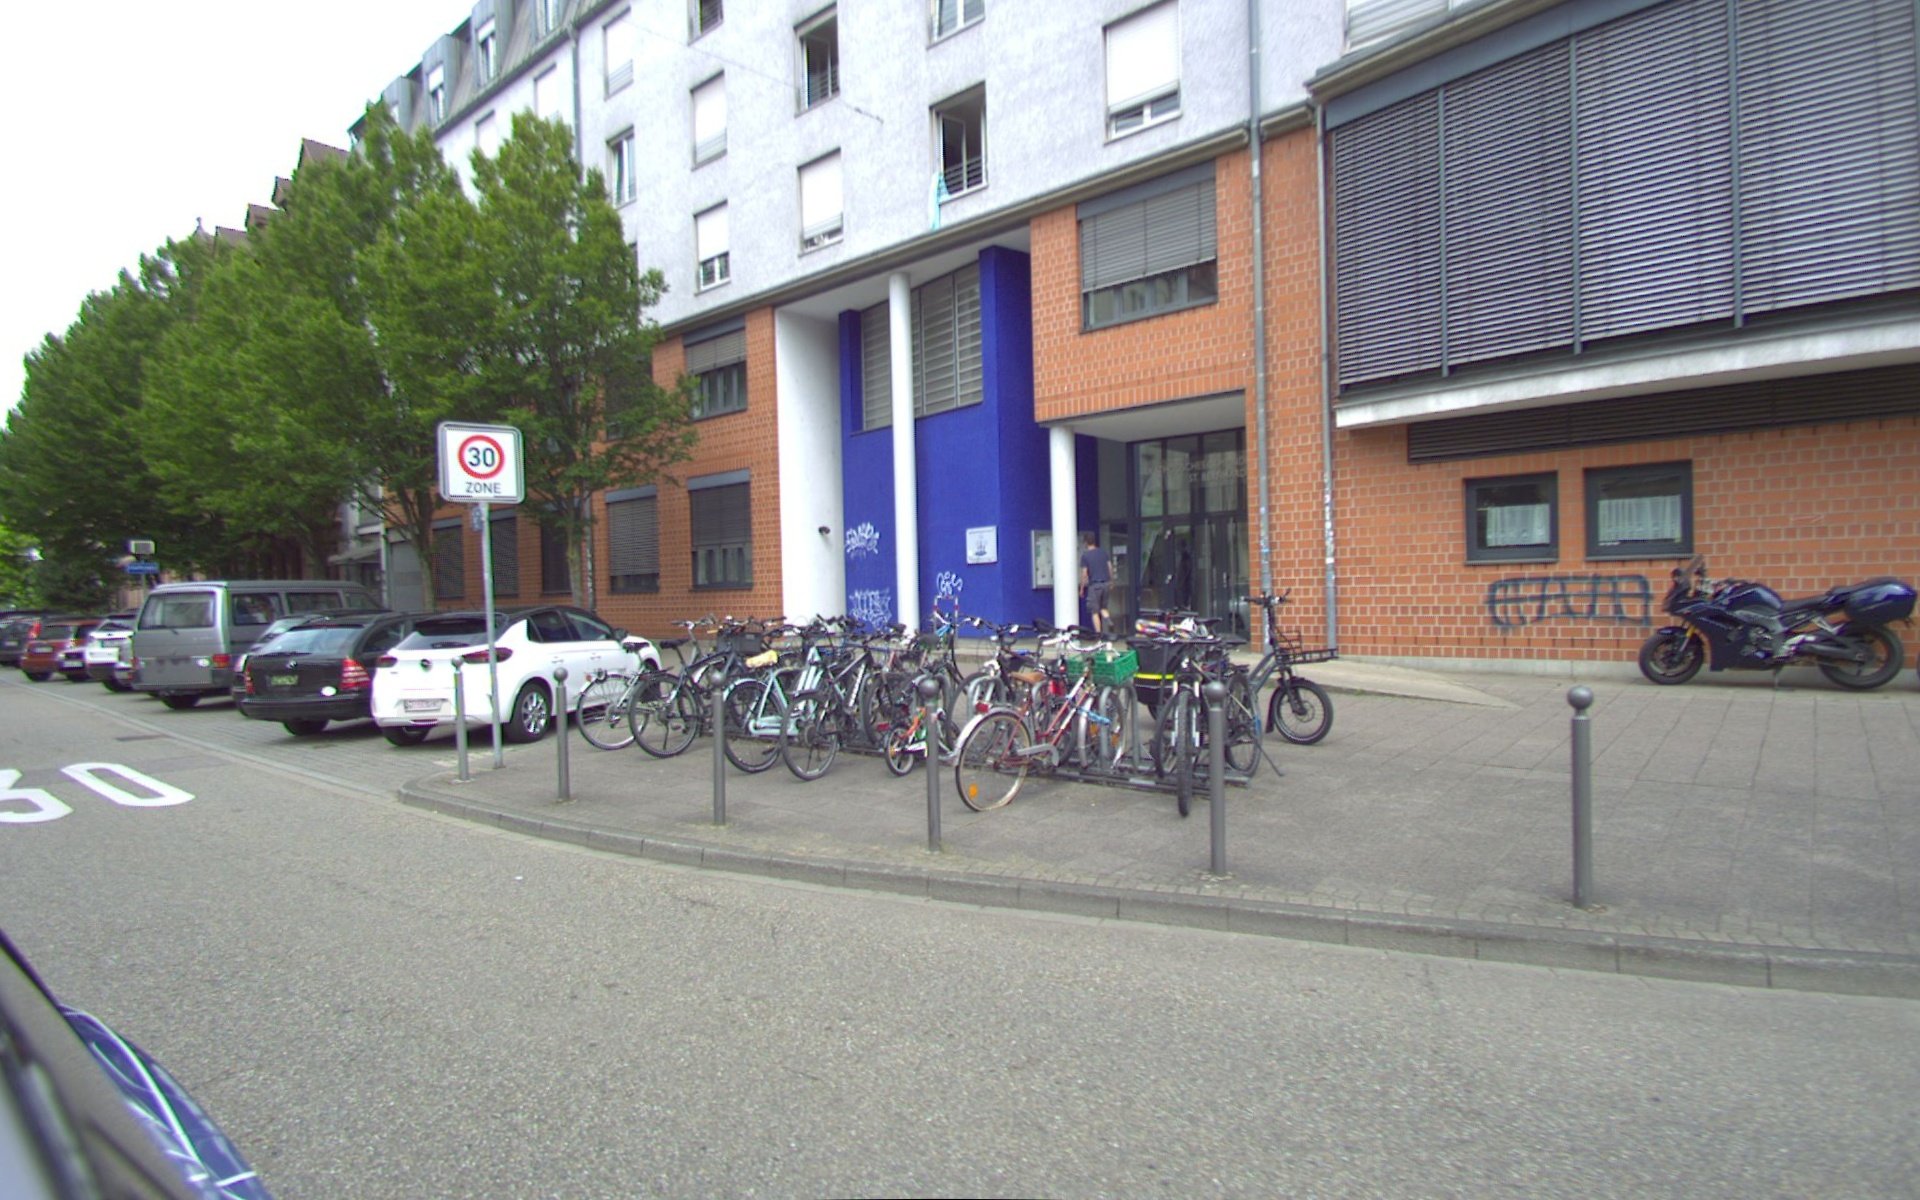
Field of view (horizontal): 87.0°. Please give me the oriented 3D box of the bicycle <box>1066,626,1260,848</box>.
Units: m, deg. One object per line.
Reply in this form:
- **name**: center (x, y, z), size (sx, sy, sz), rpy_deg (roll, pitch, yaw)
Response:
- **bicycle**: center (1.230, 0.735, 5.949), size (0.402, 1.046, 1.391), rpy_deg (-1, 3, 43)

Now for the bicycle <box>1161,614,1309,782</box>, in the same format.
- **bicycle**: center (2.001, 0.652, 7.260), size (0.402, 1.034, 1.391), rpy_deg (-1, 1, 43)

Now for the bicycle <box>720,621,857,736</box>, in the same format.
- **bicycle**: center (-1.729, 0.766, 10.360), size (0.402, 1.034, 1.391), rpy_deg (-1, 1, 43)

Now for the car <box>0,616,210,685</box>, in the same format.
- **car**: center (-21.577, 1.232, 25.758), size (1.671, 1.464, 3.996), rpy_deg (-2, 0, 8)

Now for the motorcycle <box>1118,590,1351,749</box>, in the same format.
- **motorcycle**: center (2.254, 0.538, 8.468), size (1.779, 1.181, 0.577), rpy_deg (-1, 2, 43)

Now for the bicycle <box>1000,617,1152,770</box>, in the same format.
- **bicycle**: center (0.937, 0.684, 7.929), size (0.402, 1.034, 1.391), rpy_deg (-1, 1, 43)

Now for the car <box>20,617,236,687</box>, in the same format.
- **car**: center (-19.848, 1.190, 24.377), size (1.578, 1.400, 3.996), rpy_deg (-2, 0, 8)

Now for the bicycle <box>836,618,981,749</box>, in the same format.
- **bicycle**: center (-0.439, 0.716, 9.148), size (0.402, 1.034, 1.391), rpy_deg (-1, 1, 43)

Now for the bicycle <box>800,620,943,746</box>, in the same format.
- **bicycle**: center (-0.803, 0.737, 9.469), size (0.402, 1.034, 1.391), rpy_deg (-1, 1, 43)

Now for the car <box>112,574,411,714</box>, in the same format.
- **car**: center (-11.524, 0.627, 17.089), size (1.841, 2.012, 3.994), rpy_deg (-2, 2, 10)

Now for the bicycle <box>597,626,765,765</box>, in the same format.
- **bicycle**: center (-2.459, 0.810, 9.031), size (0.402, 1.034, 1.391), rpy_deg (-1, 3, 43)

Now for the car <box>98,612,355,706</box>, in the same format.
- **car**: center (-13.608, 1.022, 19.101), size (1.606, 1.457, 3.996), rpy_deg (-2, 0, 8)

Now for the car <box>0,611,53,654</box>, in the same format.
- **car**: center (-44.031, 1.506, 46.009), size (1.671, 1.871, 3.996), rpy_deg (-2, 0, 8)

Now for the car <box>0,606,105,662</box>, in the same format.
- **car**: center (-34.223, 1.231, 37.302), size (1.671, 1.871, 4.036), rpy_deg (-2, 0, 8)

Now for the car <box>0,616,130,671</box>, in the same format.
- **car**: center (-29.645, 1.387, 32.919), size (1.671, 1.579, 3.996), rpy_deg (-2, 0, 8)

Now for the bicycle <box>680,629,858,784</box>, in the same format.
- **bicycle**: center (-1.512, 0.816, 8.180), size (0.402, 1.034, 1.391), rpy_deg (-1, 3, 43)

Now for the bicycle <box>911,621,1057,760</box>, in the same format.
- **bicycle**: center (0.230, 0.734, 8.672), size (0.402, 1.034, 1.391), rpy_deg (-1, 1, 43)

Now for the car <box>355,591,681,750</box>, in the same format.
- **car**: center (-5.017, 0.701, 12.154), size (1.585, 1.557, 3.992), rpy_deg (-1, 0, 11)

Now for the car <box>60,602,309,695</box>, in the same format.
- **car**: center (-15.671, 0.909, 20.755), size (1.692, 1.627, 3.996), rpy_deg (-2, 0, 8)

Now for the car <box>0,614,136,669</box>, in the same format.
- **car**: center (-32.013, 1.436, 36.071), size (1.671, 1.694, 3.996), rpy_deg (-2, 0, 8)

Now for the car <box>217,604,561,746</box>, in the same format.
- **car**: center (-7.170, 0.847, 13.316), size (1.697, 1.480, 4.307), rpy_deg (-1, 0, 7)

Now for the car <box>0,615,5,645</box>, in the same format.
- **car**: center (-57.586, 1.814, 58.004), size (1.671, 1.769, 3.996), rpy_deg (-2, 0, 8)

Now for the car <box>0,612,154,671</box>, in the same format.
- **car**: center (-27.583, 1.245, 31.383), size (1.671, 1.579, 3.996), rpy_deg (-2, 0, 8)

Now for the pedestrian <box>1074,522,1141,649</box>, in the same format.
- **pedestrian**: center (2.439, -0.237, 16.763), size (0.718, 2.029, 0.785), rpy_deg (-1, 0, -29)

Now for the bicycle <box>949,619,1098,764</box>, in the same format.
- **bicycle**: center (0.551, 0.704, 8.302), size (0.402, 1.034, 1.391), rpy_deg (-1, 1, 43)

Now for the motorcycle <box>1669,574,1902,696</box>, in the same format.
- **motorcycle**: center (7.787, 0.321, 9.623), size (1.656, 1.056, 0.578), rpy_deg (-2, 2, 40)

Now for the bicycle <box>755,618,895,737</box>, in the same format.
- **bicycle**: center (-1.301, 0.726, 9.954), size (0.402, 1.034, 1.391), rpy_deg (-1, 1, 43)

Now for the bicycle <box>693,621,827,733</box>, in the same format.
- **bicycle**: center (-2.086, 0.776, 10.674), size (0.402, 1.034, 1.391), rpy_deg (-1, 1, 43)

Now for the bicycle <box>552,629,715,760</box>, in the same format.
- **bicycle**: center (-3.059, 0.850, 9.570), size (0.402, 1.034, 1.391), rpy_deg (-1, 3, 43)

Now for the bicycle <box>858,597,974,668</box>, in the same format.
- **bicycle**: center (-0.725, 0.521, 16.809), size (1.591, 0.932, 0.933), rpy_deg (-9, 5, -37)

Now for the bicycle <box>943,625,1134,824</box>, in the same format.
- **bicycle**: center (0.544, 0.740, 6.519), size (0.402, 1.046, 1.391), rpy_deg (-1, 3, 43)

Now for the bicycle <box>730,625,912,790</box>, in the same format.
- **bicycle**: center (-1.031, 0.771, 7.756), size (0.402, 1.046, 1.391), rpy_deg (-1, 3, 43)

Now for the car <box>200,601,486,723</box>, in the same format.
- **car**: center (-9.420, 0.856, 15.886), size (1.690, 1.522, 3.998), rpy_deg (-2, 1, 7)
